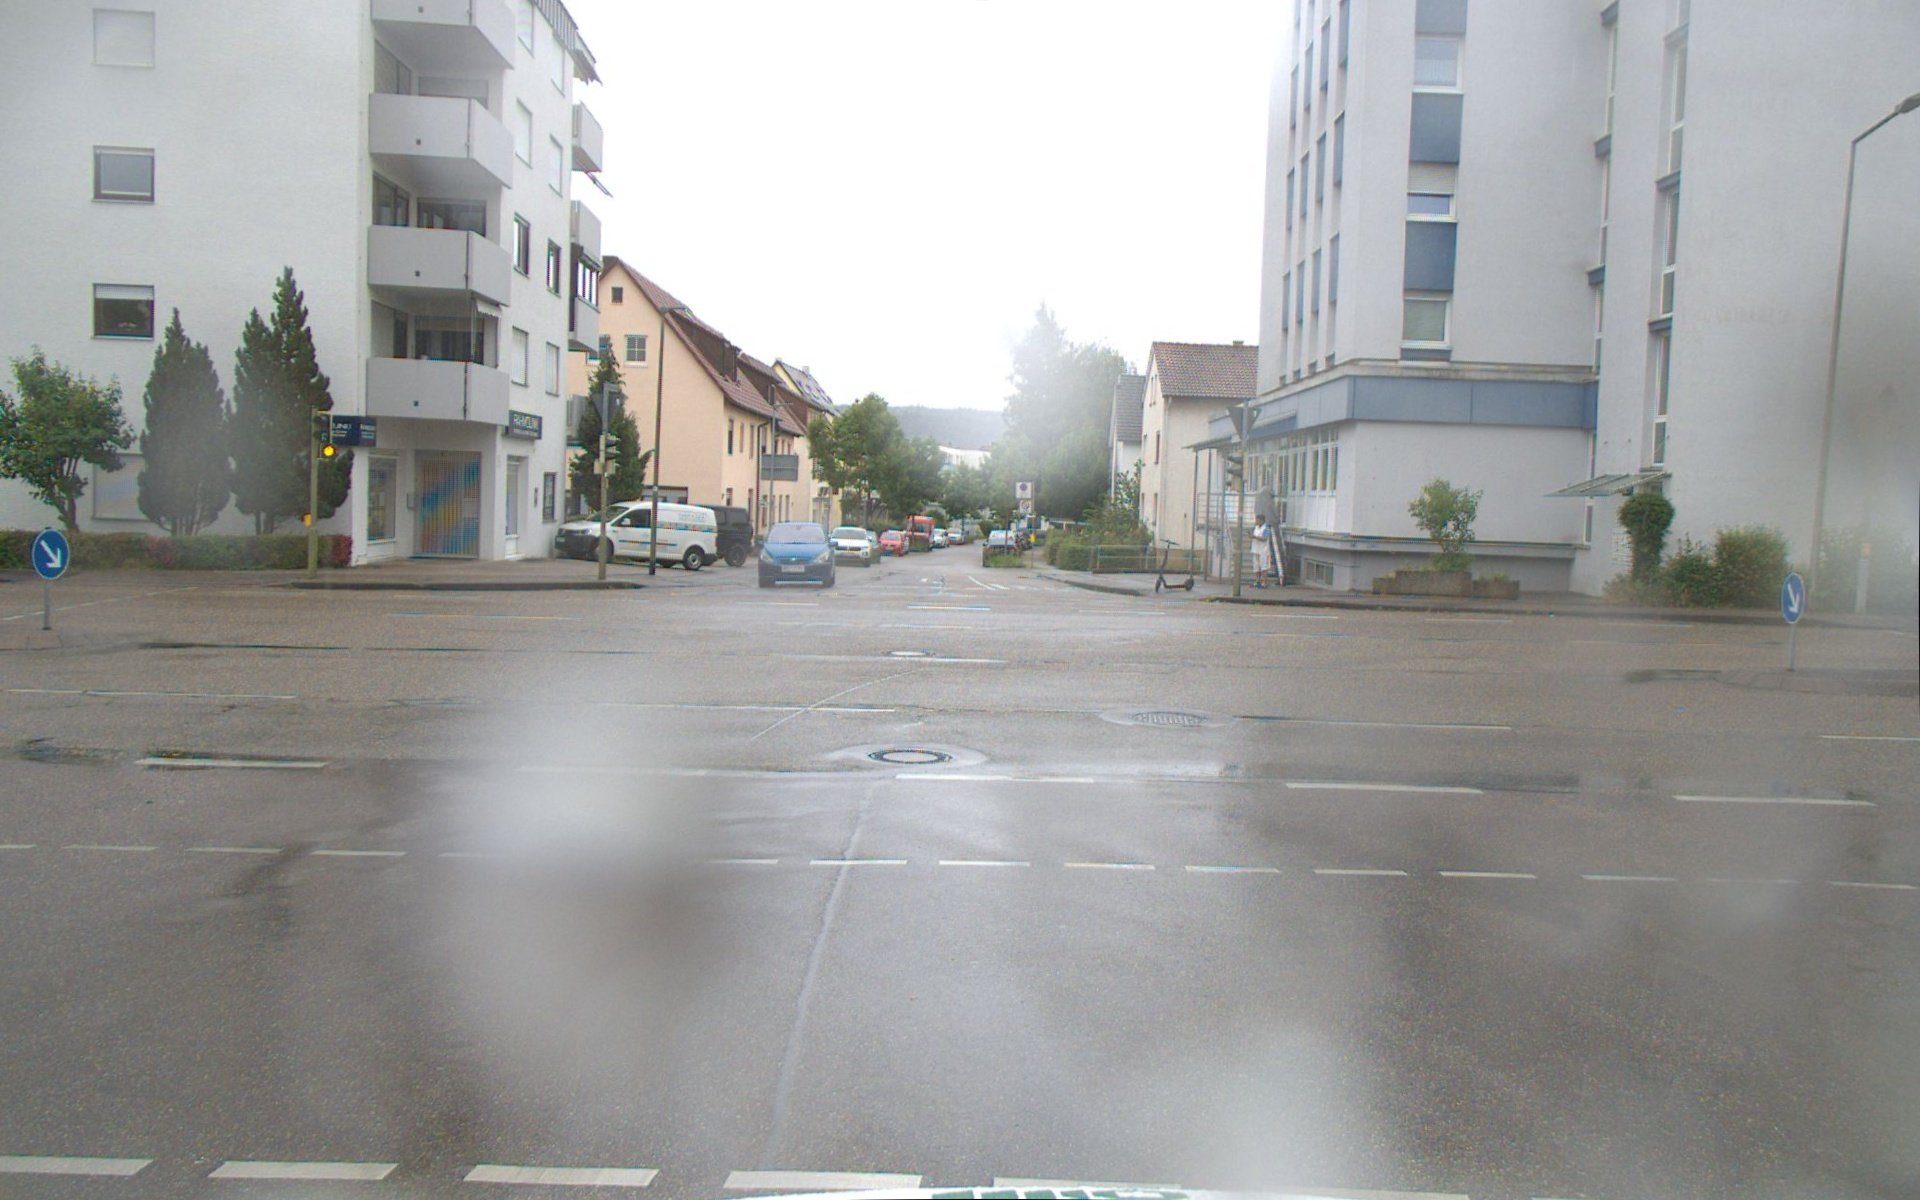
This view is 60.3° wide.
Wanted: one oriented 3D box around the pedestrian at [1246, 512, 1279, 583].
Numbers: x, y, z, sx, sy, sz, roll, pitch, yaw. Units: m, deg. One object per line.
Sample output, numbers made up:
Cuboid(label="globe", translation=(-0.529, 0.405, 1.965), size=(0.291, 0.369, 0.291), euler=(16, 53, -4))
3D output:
Cuboid(label="pedestrian", translation=(7.263, -1.259, 39.705), size=(0.641, 1.680, 0.646), euler=(1, -1, 0))

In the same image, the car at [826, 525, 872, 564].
Cuboid(label="car", translation=(-4.530, -2.278, 67.804), size=(1.732, 1.549, 3.999), euler=(0, 2, -2))

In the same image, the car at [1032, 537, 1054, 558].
Cuboid(label="car", translation=(8.132, -5.129, 162.043), size=(1.951, 2.048, 4.003), euler=(1, 2, 4))

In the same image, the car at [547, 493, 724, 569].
Cuboid(label="car", translation=(-9.277, -1.939, 47.461), size=(4.684, 1.809, 1.748), euler=(3, 0, -40))

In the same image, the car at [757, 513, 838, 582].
Cuboid(label="car", translation=(-3.814, -1.198, 39.355), size=(1.732, 1.471, 3.997), euler=(1, 0, -4))

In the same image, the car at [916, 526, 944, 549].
Cuboid(label="car", translation=(-2.519, -5.231, 138.788), size=(1.951, 1.713, 4.002), euler=(1, 0, 4))

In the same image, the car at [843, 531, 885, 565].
Cuboid(label="car", translation=(-4.568, -2.489, 79.202), size=(1.731, 1.545, 4.195), euler=(1, 2, 0))

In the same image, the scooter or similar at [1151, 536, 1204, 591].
Cuboid(label="scooter or similar", translation=(5.076, -0.838, 38.640), size=(1.039, 1.249, 0.800), euler=(1, 0, -10))

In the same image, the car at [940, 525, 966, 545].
Cuboid(label="car", translation=(-0.658, -6.059, 154.706), size=(1.951, 1.736, 4.003), euler=(1, 0, 6))

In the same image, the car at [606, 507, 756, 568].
Cuboid(label="car", translation=(-9.174, -2.036, 54.573), size=(4.578, 1.921, 1.935), euler=(-1, 2, -40))

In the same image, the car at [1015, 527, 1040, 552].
Cuboid(label="car", translation=(5.632, -5.027, 137.517), size=(1.951, 2.048, 4.003), euler=(1, 2, 4))

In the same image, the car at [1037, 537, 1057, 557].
Cuboid(label="car", translation=(8.998, -5.451, 170.561), size=(1.951, 2.048, 4.003), euler=(1, 2, 4))

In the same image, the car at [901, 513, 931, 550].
Cuboid(label="car", translation=(-3.373, -5.245, 127.242), size=(2.171, 2.816, 5.725), euler=(0, 2, -1))

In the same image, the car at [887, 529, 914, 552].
Cuboid(label="car", translation=(-4.081, -4.019, 112.264), size=(1.732, 1.545, 3.998), euler=(0, 2, -3))

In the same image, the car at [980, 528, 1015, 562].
Cuboid(label="car", translation=(2.375, -3.437, 103.649), size=(1.951, 2.048, 4.003), euler=(1, 2, 4))

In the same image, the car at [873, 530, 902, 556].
Cuboid(label="car", translation=(-4.607, -3.596, 104.310), size=(1.732, 1.545, 3.998), euler=(0, 2, -3))

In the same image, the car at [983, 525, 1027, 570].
Cuboid(label="car", translation=(2.257, -2.574, 81.621), size=(1.951, 2.049, 4.002), euler=(1, 0, 4))
